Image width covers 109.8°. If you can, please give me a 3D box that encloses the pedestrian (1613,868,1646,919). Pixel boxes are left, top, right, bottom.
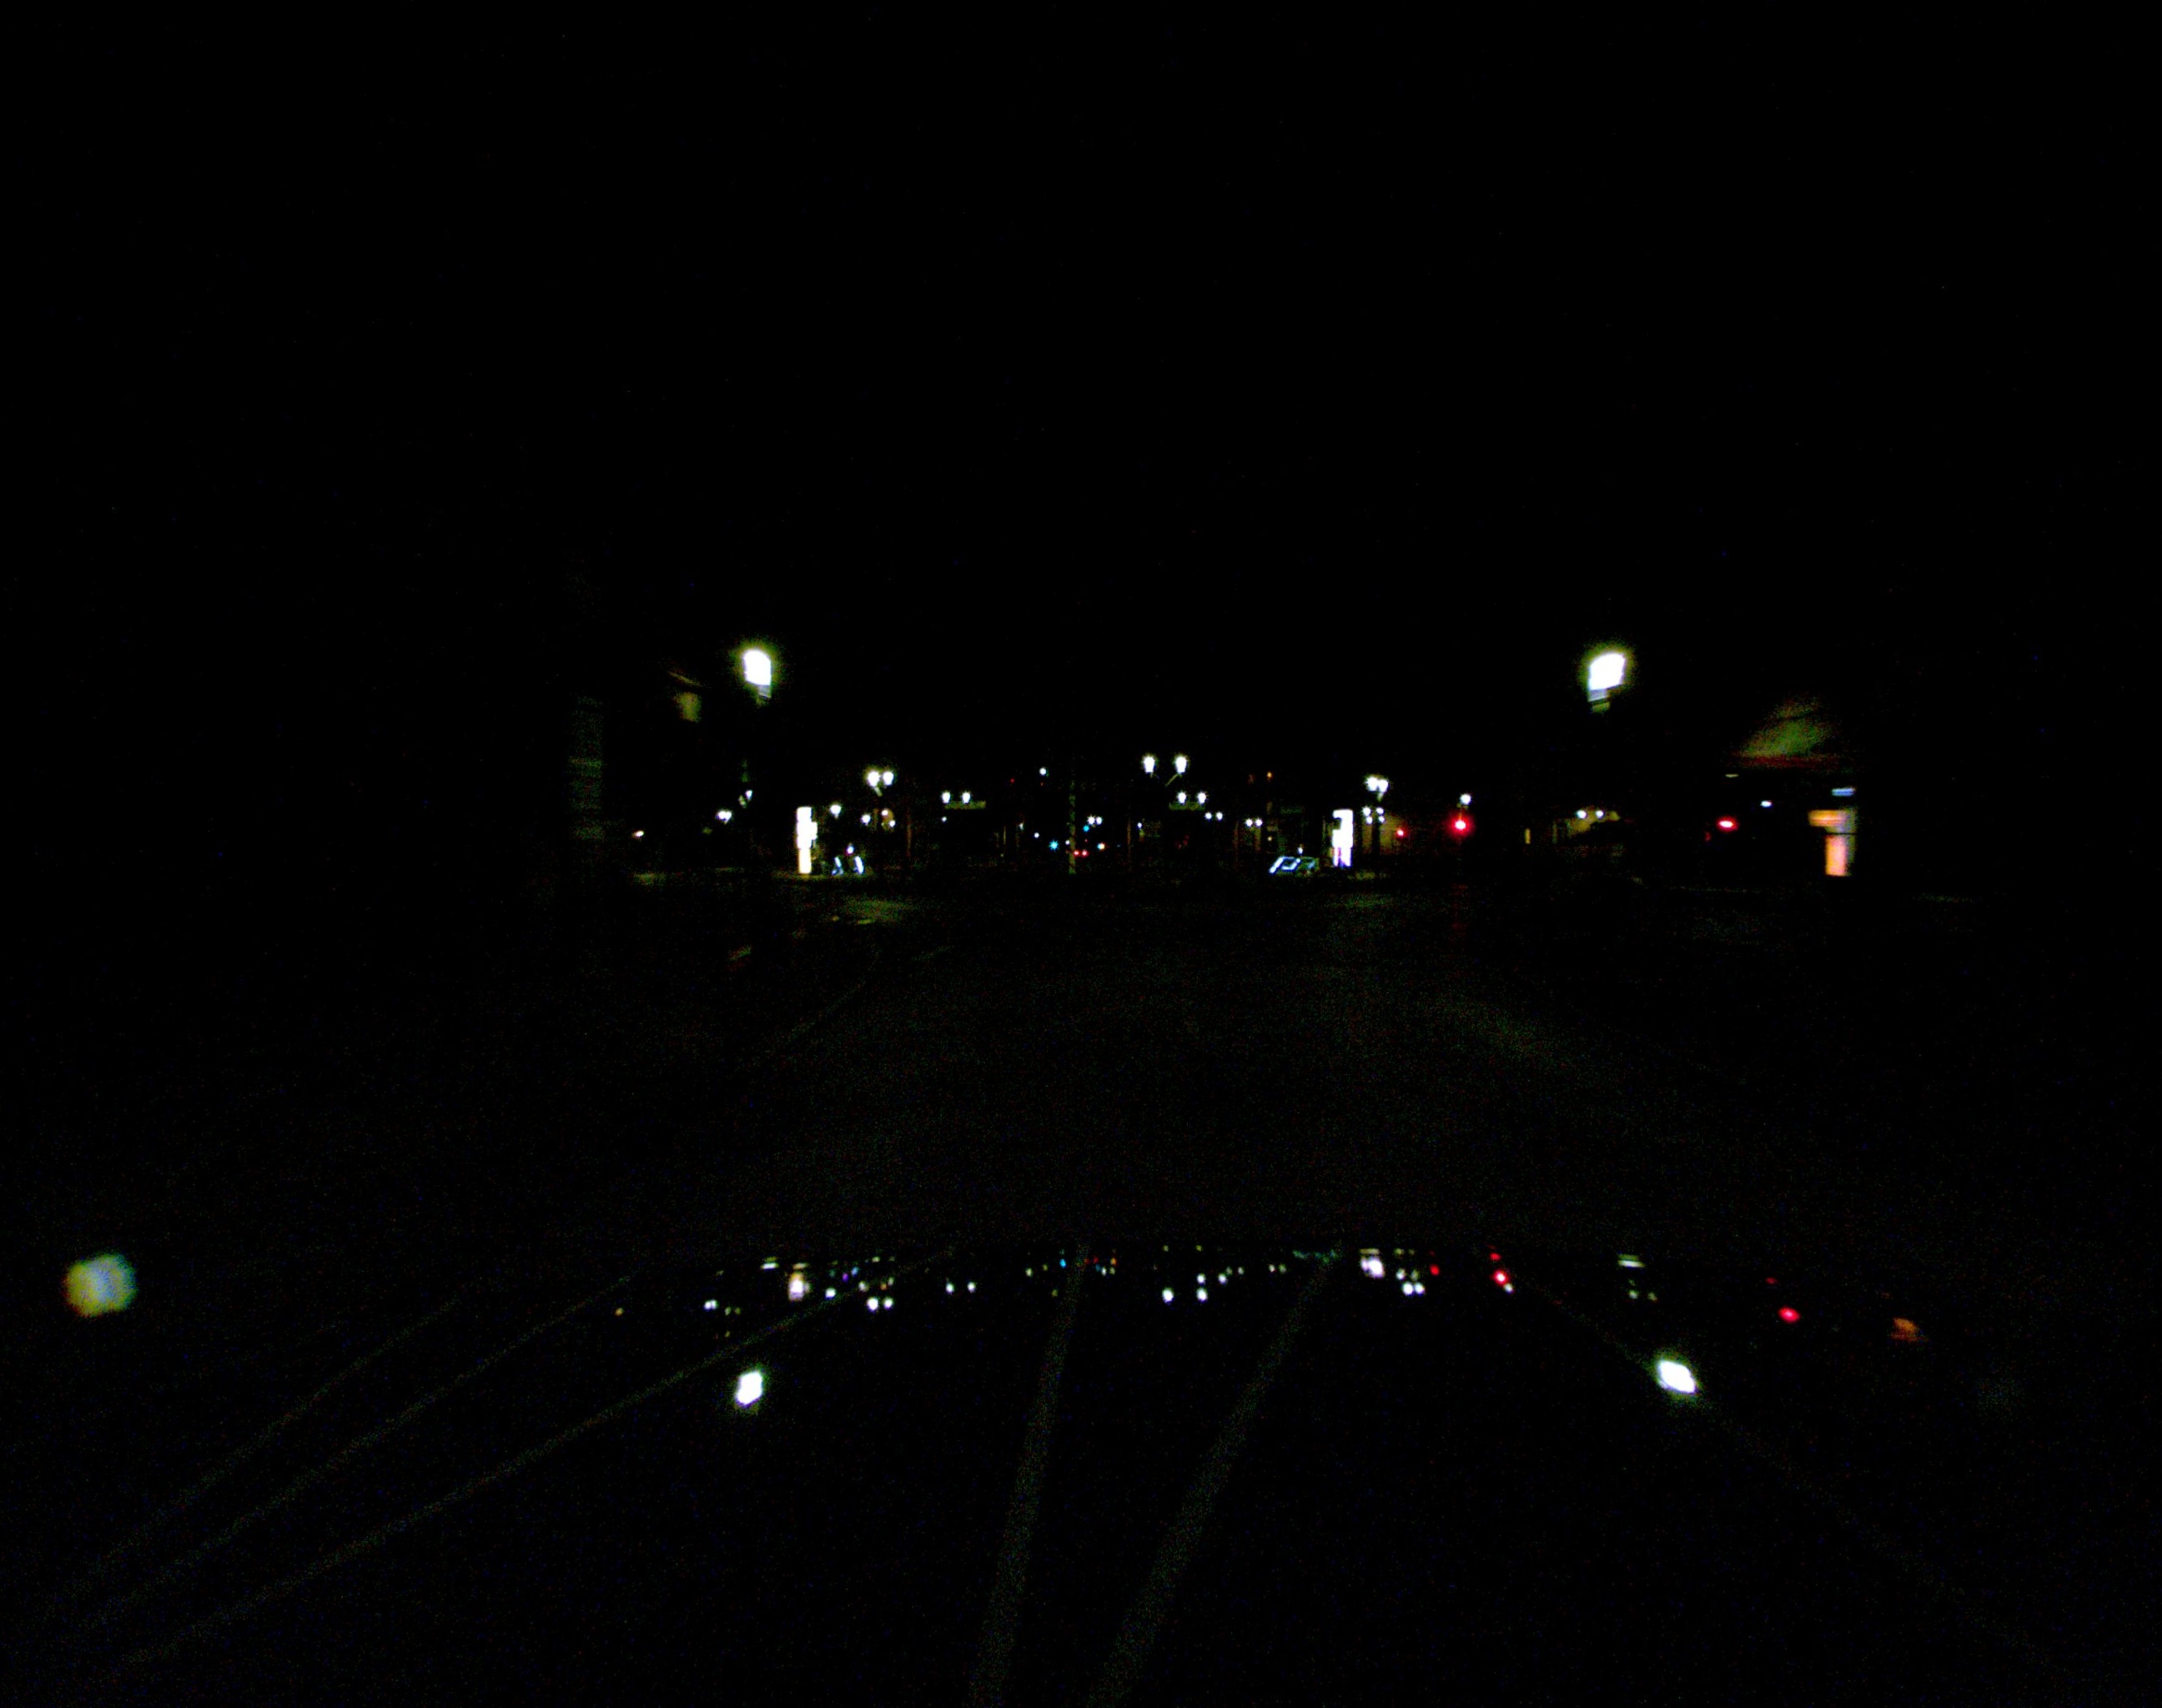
[{"bbox_3d":[15.337,1.099,21.234,0.676,1.370,0.578,2,1,39],"label":"pedestrian"}]

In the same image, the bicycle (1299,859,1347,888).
[{"bbox_3d":[10.006,0.789,31.402,1.772,1.144,0.615,2,1,42],"label":"bicycle"}]

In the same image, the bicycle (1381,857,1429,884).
[{"bbox_3d":[14.849,0.747,34.857,1.865,1.128,0.727,2,1,42],"label":"bicycle"}]

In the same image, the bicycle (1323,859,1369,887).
[{"bbox_3d":[11.446,0.812,32.861,0.583,1.144,1.772,0,1,-42],"label":"bicycle"}]

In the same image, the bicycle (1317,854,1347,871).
[{"bbox_3d":[16.928,0.572,51.287,1.803,1.121,0.650,1,1,-7],"label":"bicycle"}]

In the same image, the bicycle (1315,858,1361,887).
[{"bbox_3d":[10.972,0.781,32.427,0.583,1.144,1.772,0,1,-42],"label":"bicycle"}]

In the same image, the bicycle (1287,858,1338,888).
[{"bbox_3d":[9.403,0.770,30.857,1.782,1.144,0.761,2,1,42],"label":"bicycle"}]

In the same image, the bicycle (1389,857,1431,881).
[{"bbox_3d":[16.437,0.725,37.987,1.769,1.134,0.688,2,1,43],"label":"bicycle"}]

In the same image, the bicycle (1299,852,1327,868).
[{"bbox_3d":[16.416,0.410,53.804,1.803,1.121,0.650,1,1,-7],"label":"bicycle"}]

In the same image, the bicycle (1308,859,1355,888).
[{"bbox_3d":[10.508,0.803,31.924,1.772,1.144,0.583,2,1,42],"label":"bicycle"}]

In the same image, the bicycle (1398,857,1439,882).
[{"bbox_3d":[16.220,0.743,36.549,1.654,1.128,0.644,2,1,43],"label":"bicycle"}]

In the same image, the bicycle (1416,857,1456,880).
[{"bbox_3d":[18.260,0.736,39.072,1.655,1.134,0.829,2,1,43],"label":"bicycle"}]

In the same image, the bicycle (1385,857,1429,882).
[{"bbox_3d":[15.440,0.733,36.049,1.788,1.128,0.631,2,1,42],"label":"bicycle"}]
